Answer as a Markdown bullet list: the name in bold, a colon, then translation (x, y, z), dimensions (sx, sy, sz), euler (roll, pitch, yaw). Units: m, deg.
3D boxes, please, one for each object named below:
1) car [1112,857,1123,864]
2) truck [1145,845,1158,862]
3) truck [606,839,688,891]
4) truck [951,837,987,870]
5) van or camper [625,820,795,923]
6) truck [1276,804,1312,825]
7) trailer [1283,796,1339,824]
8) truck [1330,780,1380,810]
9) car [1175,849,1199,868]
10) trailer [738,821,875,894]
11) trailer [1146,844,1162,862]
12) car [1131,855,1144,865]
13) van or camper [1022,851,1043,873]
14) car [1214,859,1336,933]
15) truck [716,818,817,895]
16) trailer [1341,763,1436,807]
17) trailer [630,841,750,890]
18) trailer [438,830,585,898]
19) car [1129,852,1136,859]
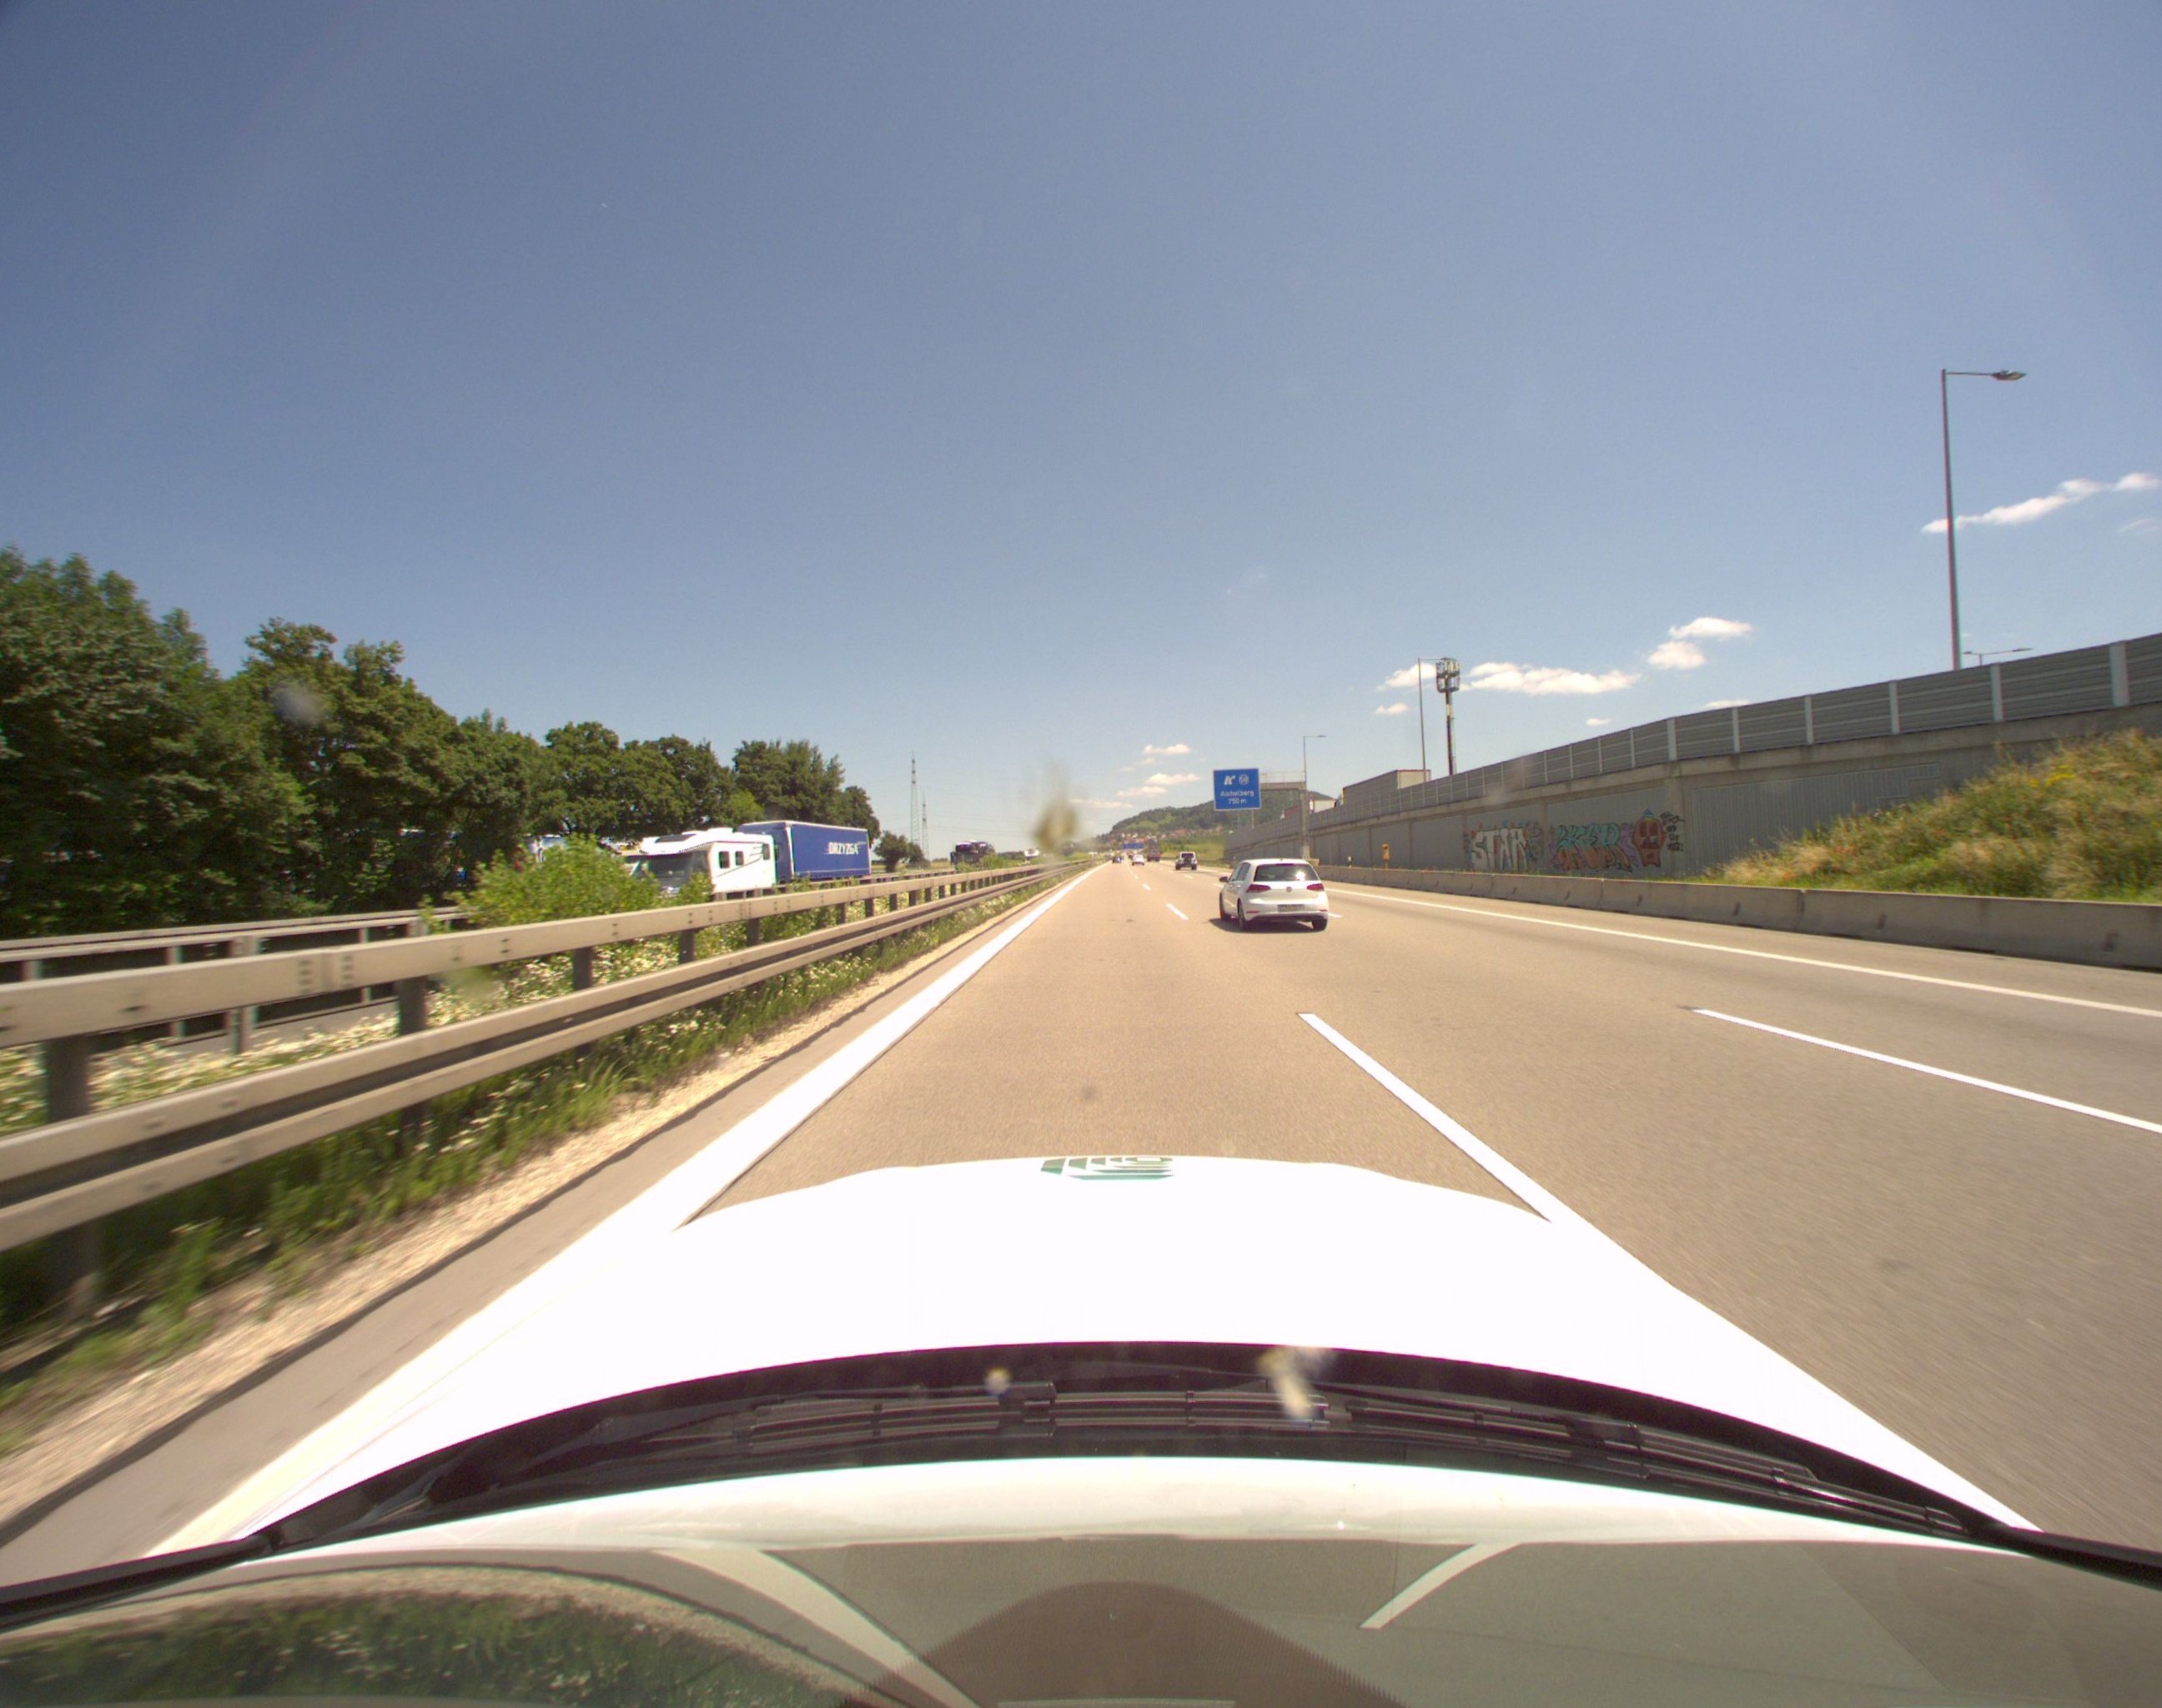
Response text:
- **car**: translation (7.147, 1.286, 160.416), dimensions (1.985, 1.389, 4.004), euler (0, -1, 4)
- **truck**: translation (17.122, -0.100, 197.825), dimensions (2.743, 4.020, 6.788), euler (0, -1, 0)
- **truck**: translation (-33.084, 0.847, 62.407), dimensions (2.785, 3.783, 6.102), euler (0, -1, 2)
- **truck**: translation (-13.211, -0.002, 96.768), dimensions (2.666, 3.819, 9.157), euler (0, -1, 2)
- **van or camper**: translation (-12.408, 0.546, 28.013), dimensions (2.261, 2.969, 6.957), euler (-3, -1, 2)
- **truck**: translation (25.988, -4.781, 99.706), dimensions (2.698, 2.204, 7.288), euler (0, -1, 1)
- **trailer**: translation (25.840, -4.882, 92.311), dimensions (2.709, 2.224, 14.022), euler (0, -1, 1)
- **truck**: translation (25.420, -5.445, 75.768), dimensions (2.713, 2.230, 6.038), euler (0, -1, 1)
- **car**: translation (10.834, 0.457, 83.649), dimensions (2.026, 1.804, 4.253), euler (-2, 0, 2)
- **trailer**: translation (-15.887, 0.249, 48.926), dimensions (2.831, 3.734, 14.536), euler (0, -1, 2)
- **trailer**: translation (17.048, -0.215, 190.487), dimensions (2.716, 4.155, 11.807), euler (0, -1, 0)
- **car**: translation (8.802, 0.938, 126.463), dimensions (1.906, 1.581, 5.234), euler (0, -1, 3)
- **van or camper**: translation (-7.577, 1.200, 128.229), dimensions (2.514, 3.267, 7.379), euler (-3, -1, 2)
- **car**: translation (4.111, 0.838, 18.027), dimensions (1.769, 1.433, 4.693), euler (0, -1, 2)
- **truck**: translation (-16.098, 0.154, 42.105), dimensions (2.837, 3.745, 5.695), euler (0, -1, 2)
- **trailer**: translation (25.262, -5.573, 67.987), dimensions (2.709, 2.224, 14.529), euler (0, -1, 1)
- **trailer**: translation (-32.787, 0.977, 69.376), dimensions (2.757, 3.779, 14.419), euler (0, -1, 2)
- **trailer**: translation (-33.575, 0.594, 48.595), dimensions (2.536, 3.662, 8.713), euler (0, -1, 1)
- **car**: translation (16.622, 0.538, 262.086), dimensions (1.985, 2.014, 4.004), euler (0, -1, 4)
